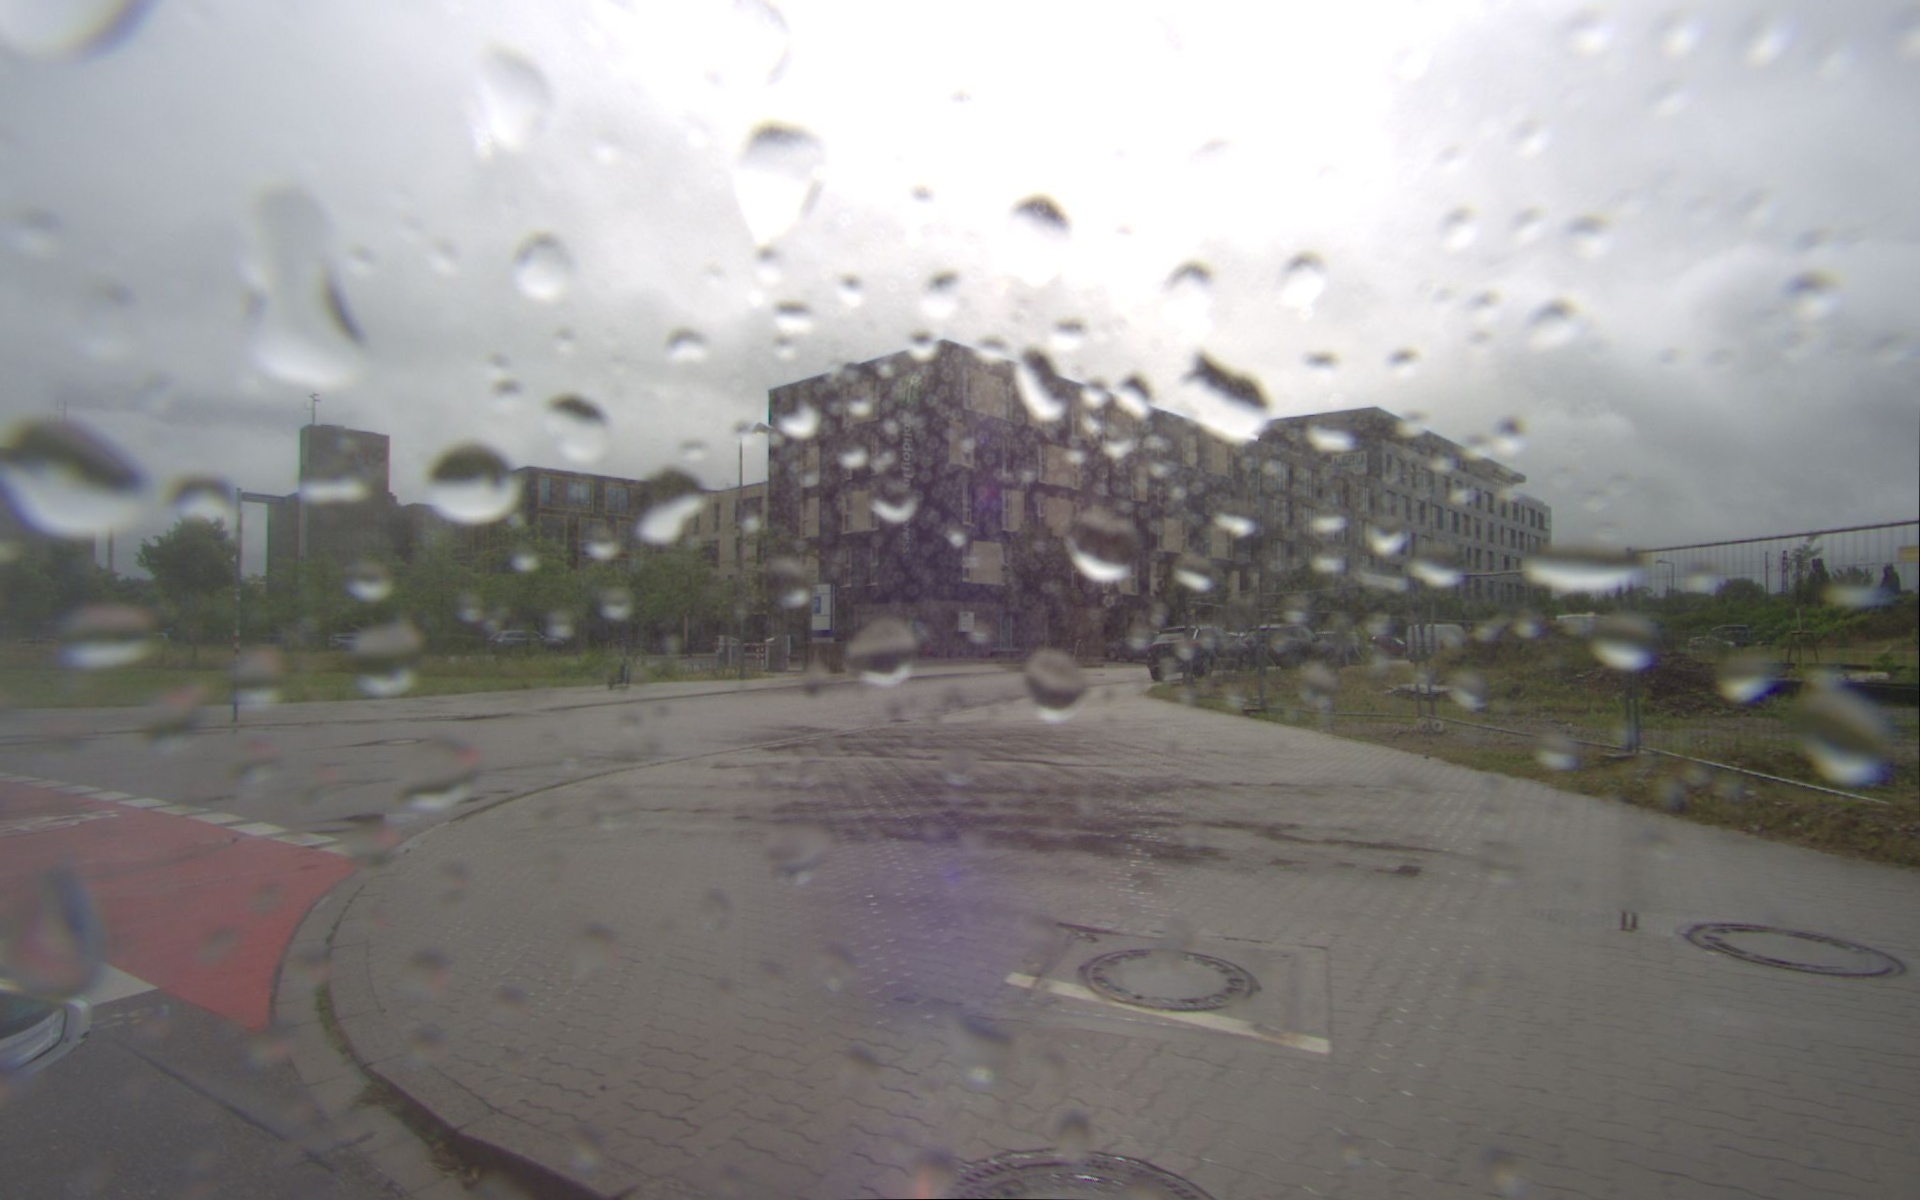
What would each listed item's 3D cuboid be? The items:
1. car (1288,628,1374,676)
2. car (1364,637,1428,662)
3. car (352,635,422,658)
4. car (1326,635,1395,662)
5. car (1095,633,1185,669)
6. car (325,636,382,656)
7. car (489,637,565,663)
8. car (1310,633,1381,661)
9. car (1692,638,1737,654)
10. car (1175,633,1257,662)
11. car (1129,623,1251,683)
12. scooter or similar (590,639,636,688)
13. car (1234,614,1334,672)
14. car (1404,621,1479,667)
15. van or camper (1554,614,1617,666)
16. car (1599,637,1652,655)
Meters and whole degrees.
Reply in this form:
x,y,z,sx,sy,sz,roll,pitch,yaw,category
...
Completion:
x,y,z,sx,sy,sz,roll,pitch,yaw,category
14.516,2.041,39.102,1.976,1.660,3.975,-1,-6,39,car
30.262,3.437,69.615,3.800,1.634,1.537,-2,-6,42,car
-46.072,3.743,80.587,4.514,1.784,1.981,2,-3,-44,car
26.014,3.139,65.166,3.800,1.634,1.773,-2,-6,42,car
8.470,2.401,47.336,3.800,1.546,1.773,-2,-6,42,car
-53.215,4.021,87.911,3.961,1.742,1.753,2,-3,-43,car
-27.596,3.166,63.853,4.177,1.577,1.651,1,-2,-44,car
24.306,2.949,63.229,3.800,1.634,1.773,-2,-6,42,car
83.365,5.090,110.677,3.949,1.750,1.988,-1,-2,37,car
13.496,2.478,52.873,3.766,1.412,1.755,-2,-6,42,car
6.944,1.587,30.023,1.977,1.637,3.972,-5,-5,39,car
-9.021,1.645,26.088,0.494,1.203,1.283,1,0,13,scooter or similar
11.237,1.533,34.591,1.976,1.748,3.975,-1,-5,39,car
22.903,2.101,47.516,1.979,1.792,4.306,-1,-8,44,car
43.577,2.840,69.663,2.503,3.239,6.749,-1,-6,43,van or camper
68.548,4.739,103.160,1.784,1.707,4.327,6,-6,-44,car
